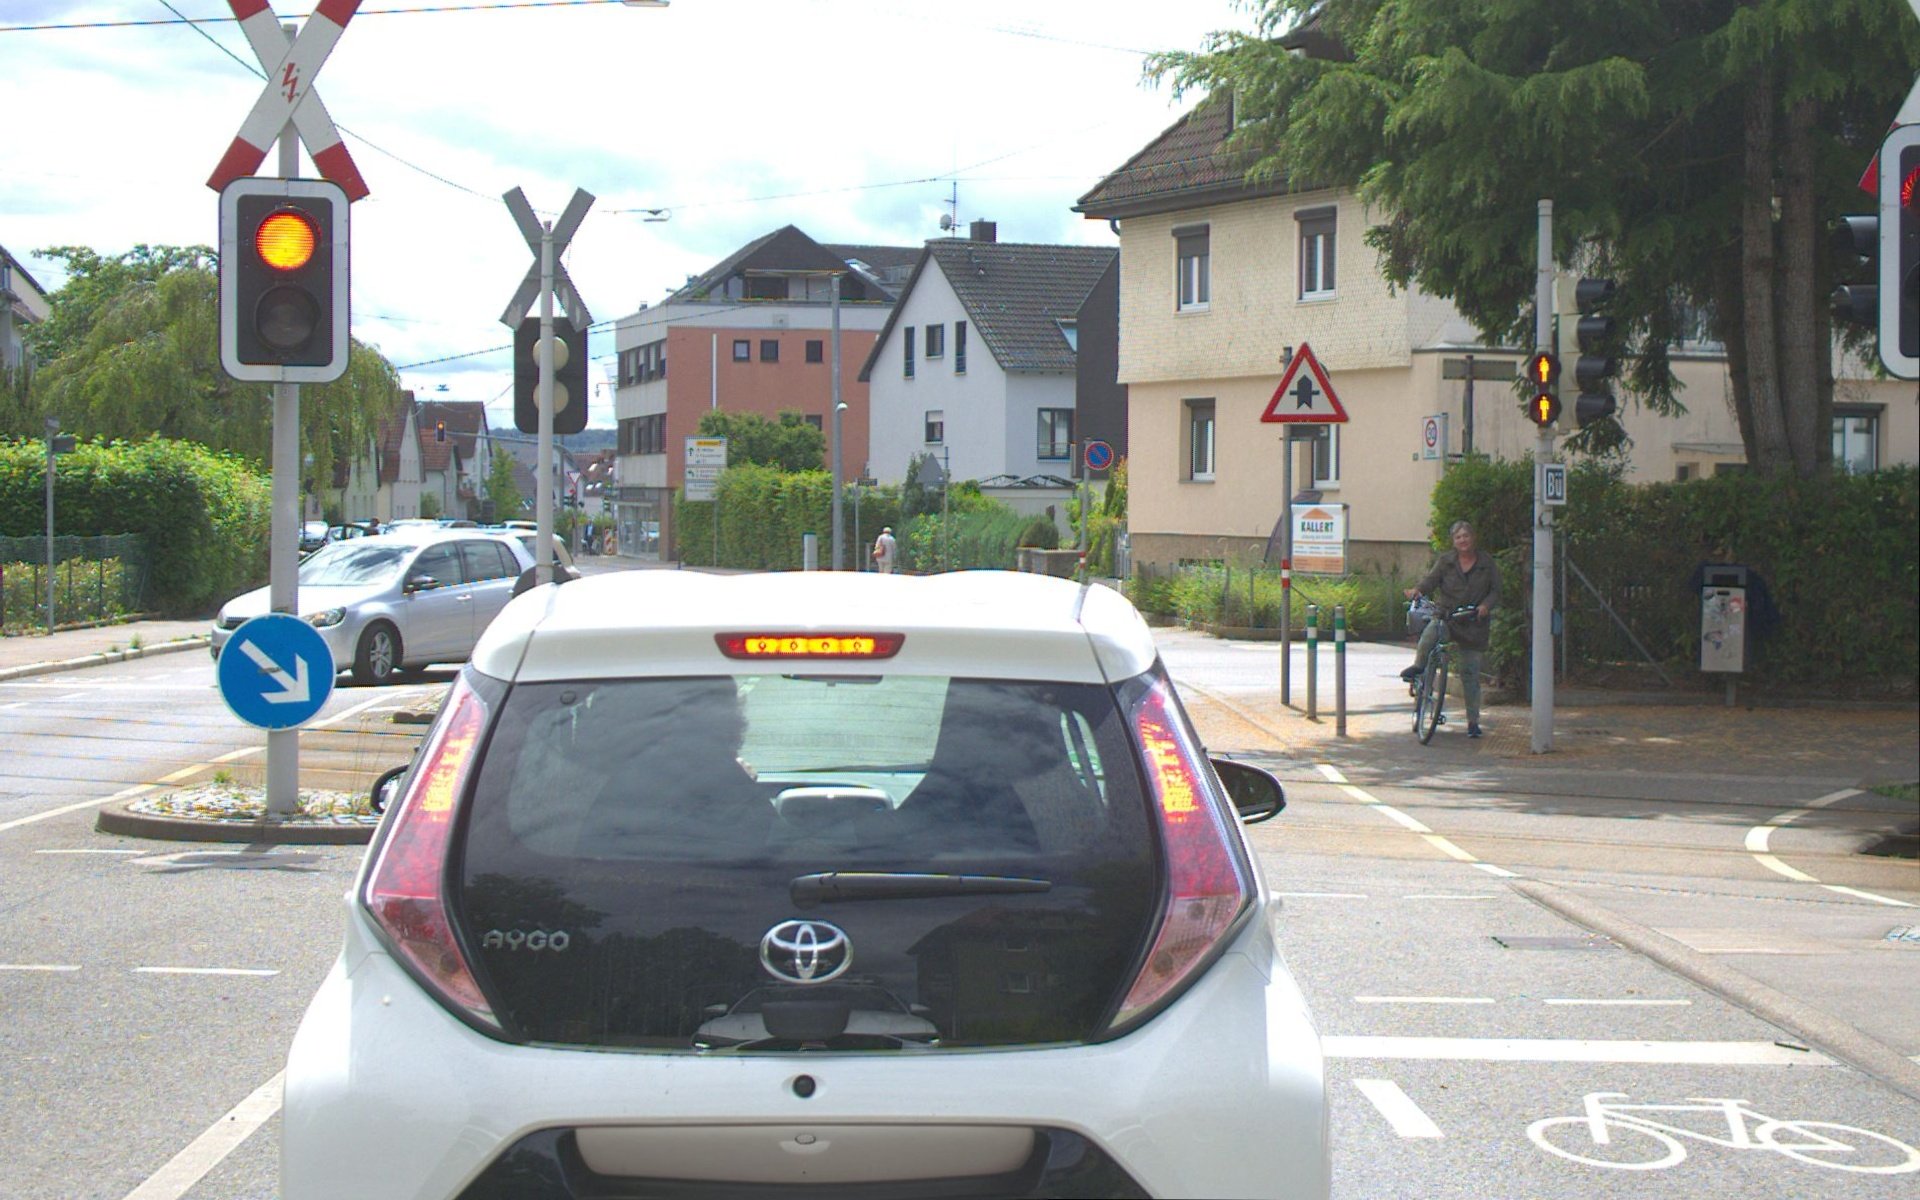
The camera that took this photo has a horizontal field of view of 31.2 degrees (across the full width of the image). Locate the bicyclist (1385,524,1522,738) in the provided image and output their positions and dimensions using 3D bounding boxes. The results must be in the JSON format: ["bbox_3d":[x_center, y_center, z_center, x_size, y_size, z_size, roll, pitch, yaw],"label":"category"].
[{"bbox_3d":[3.760,0.226,26.245,0.840,1.548,0.756,-2,3,-6],"label":"bicyclist"}]

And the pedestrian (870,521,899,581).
[{"bbox_3d":[-2.007,-1.299,91.432,0.726,1.571,0.803,2,1,0],"label":"pedestrian"}]

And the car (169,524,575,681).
[{"bbox_3d":[-5.848,0.009,34.667,1.908,1.436,4.092,2,1,28],"label":"car"}]

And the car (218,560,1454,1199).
[{"bbox_3d":[-0.301,0.679,6.708,1.721,1.437,3.709,2,1,-4],"label":"car"}]

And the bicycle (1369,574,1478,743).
[{"bbox_3d":[3.536,0.429,26.312,0.457,1.168,1.480,-2,4,-6],"label":"bicycle"}]
